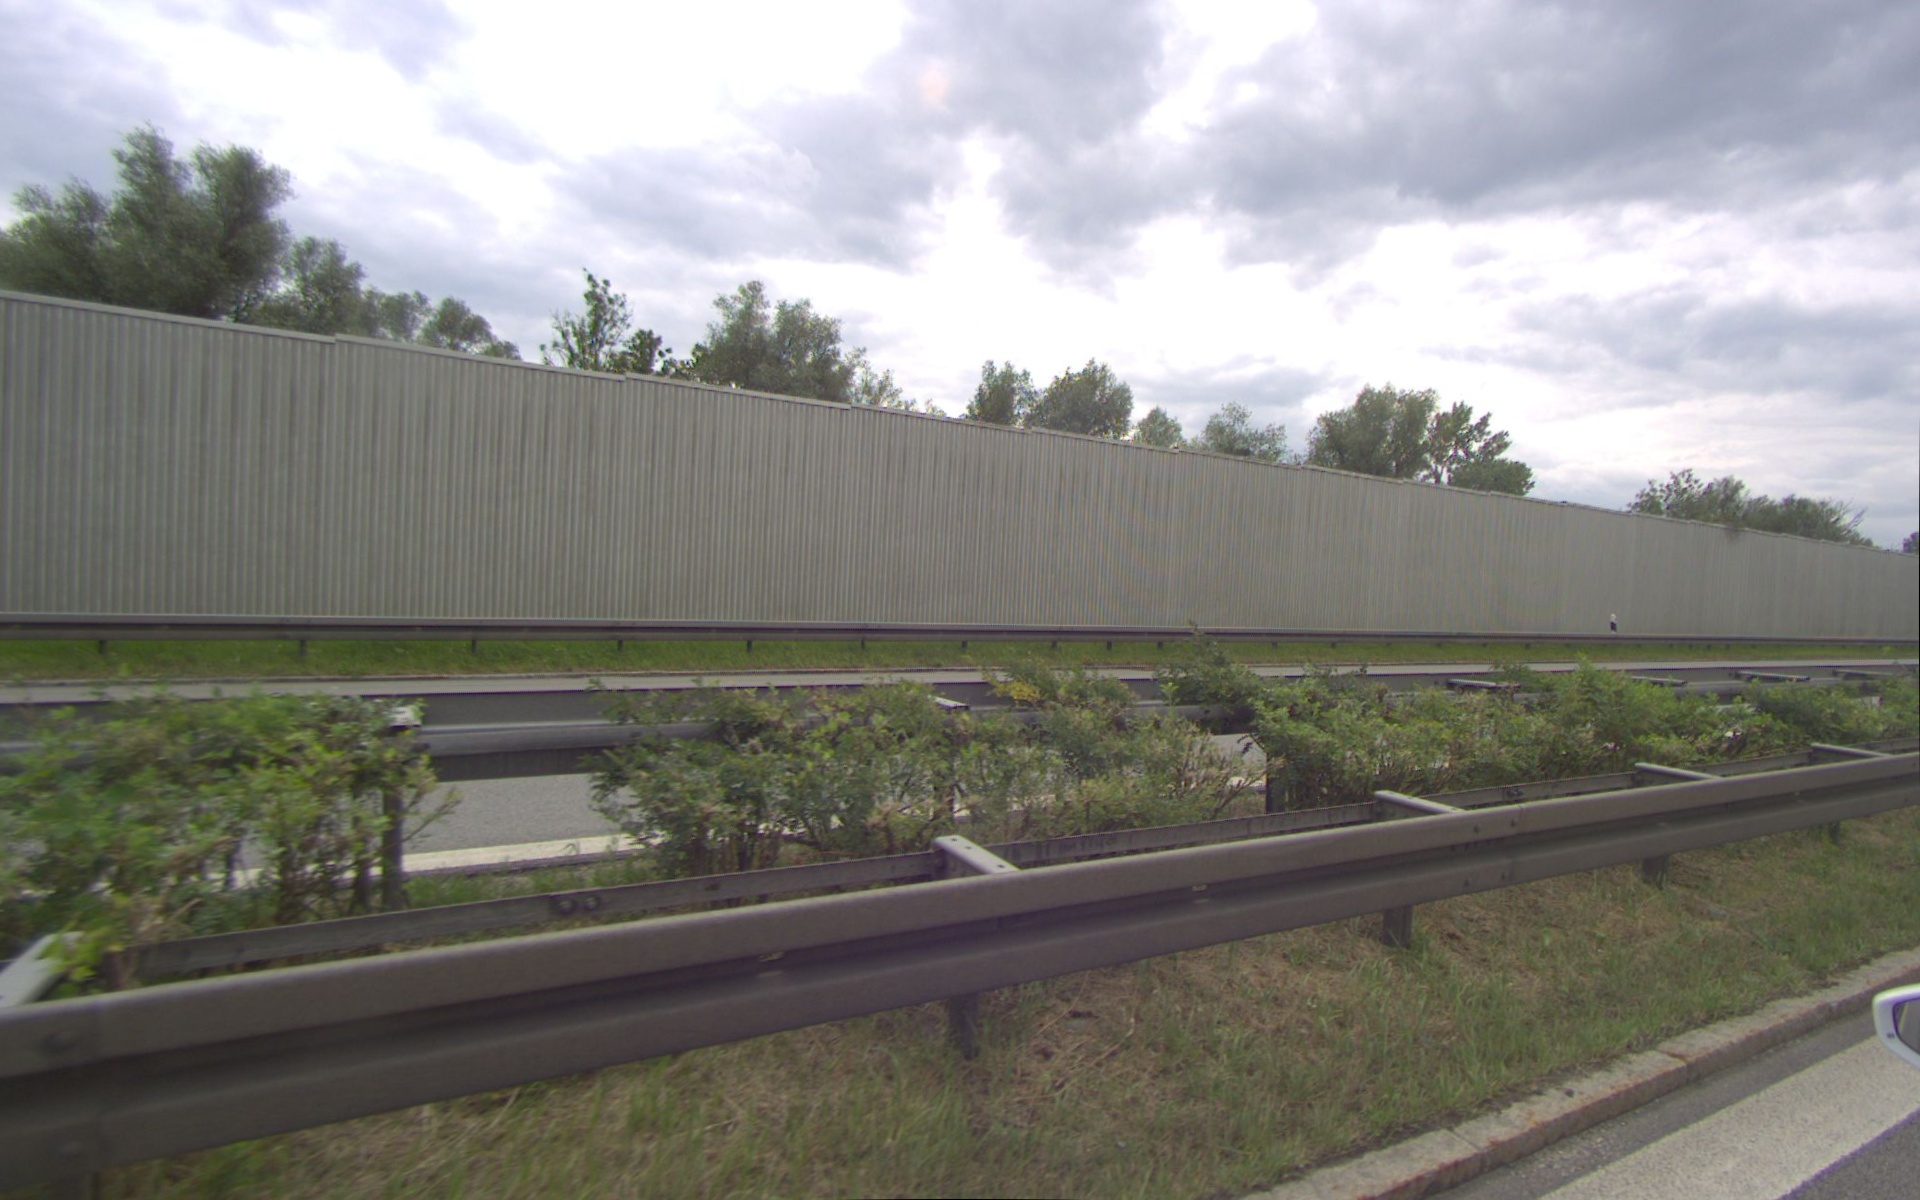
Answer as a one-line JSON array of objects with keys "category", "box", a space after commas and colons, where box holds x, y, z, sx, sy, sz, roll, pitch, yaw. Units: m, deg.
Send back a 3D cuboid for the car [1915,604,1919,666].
[{"category": "car", "box": [28.027, 0.998, 27.438, 4.652, 1.664, 1.706, 2, 0, -32]}]
